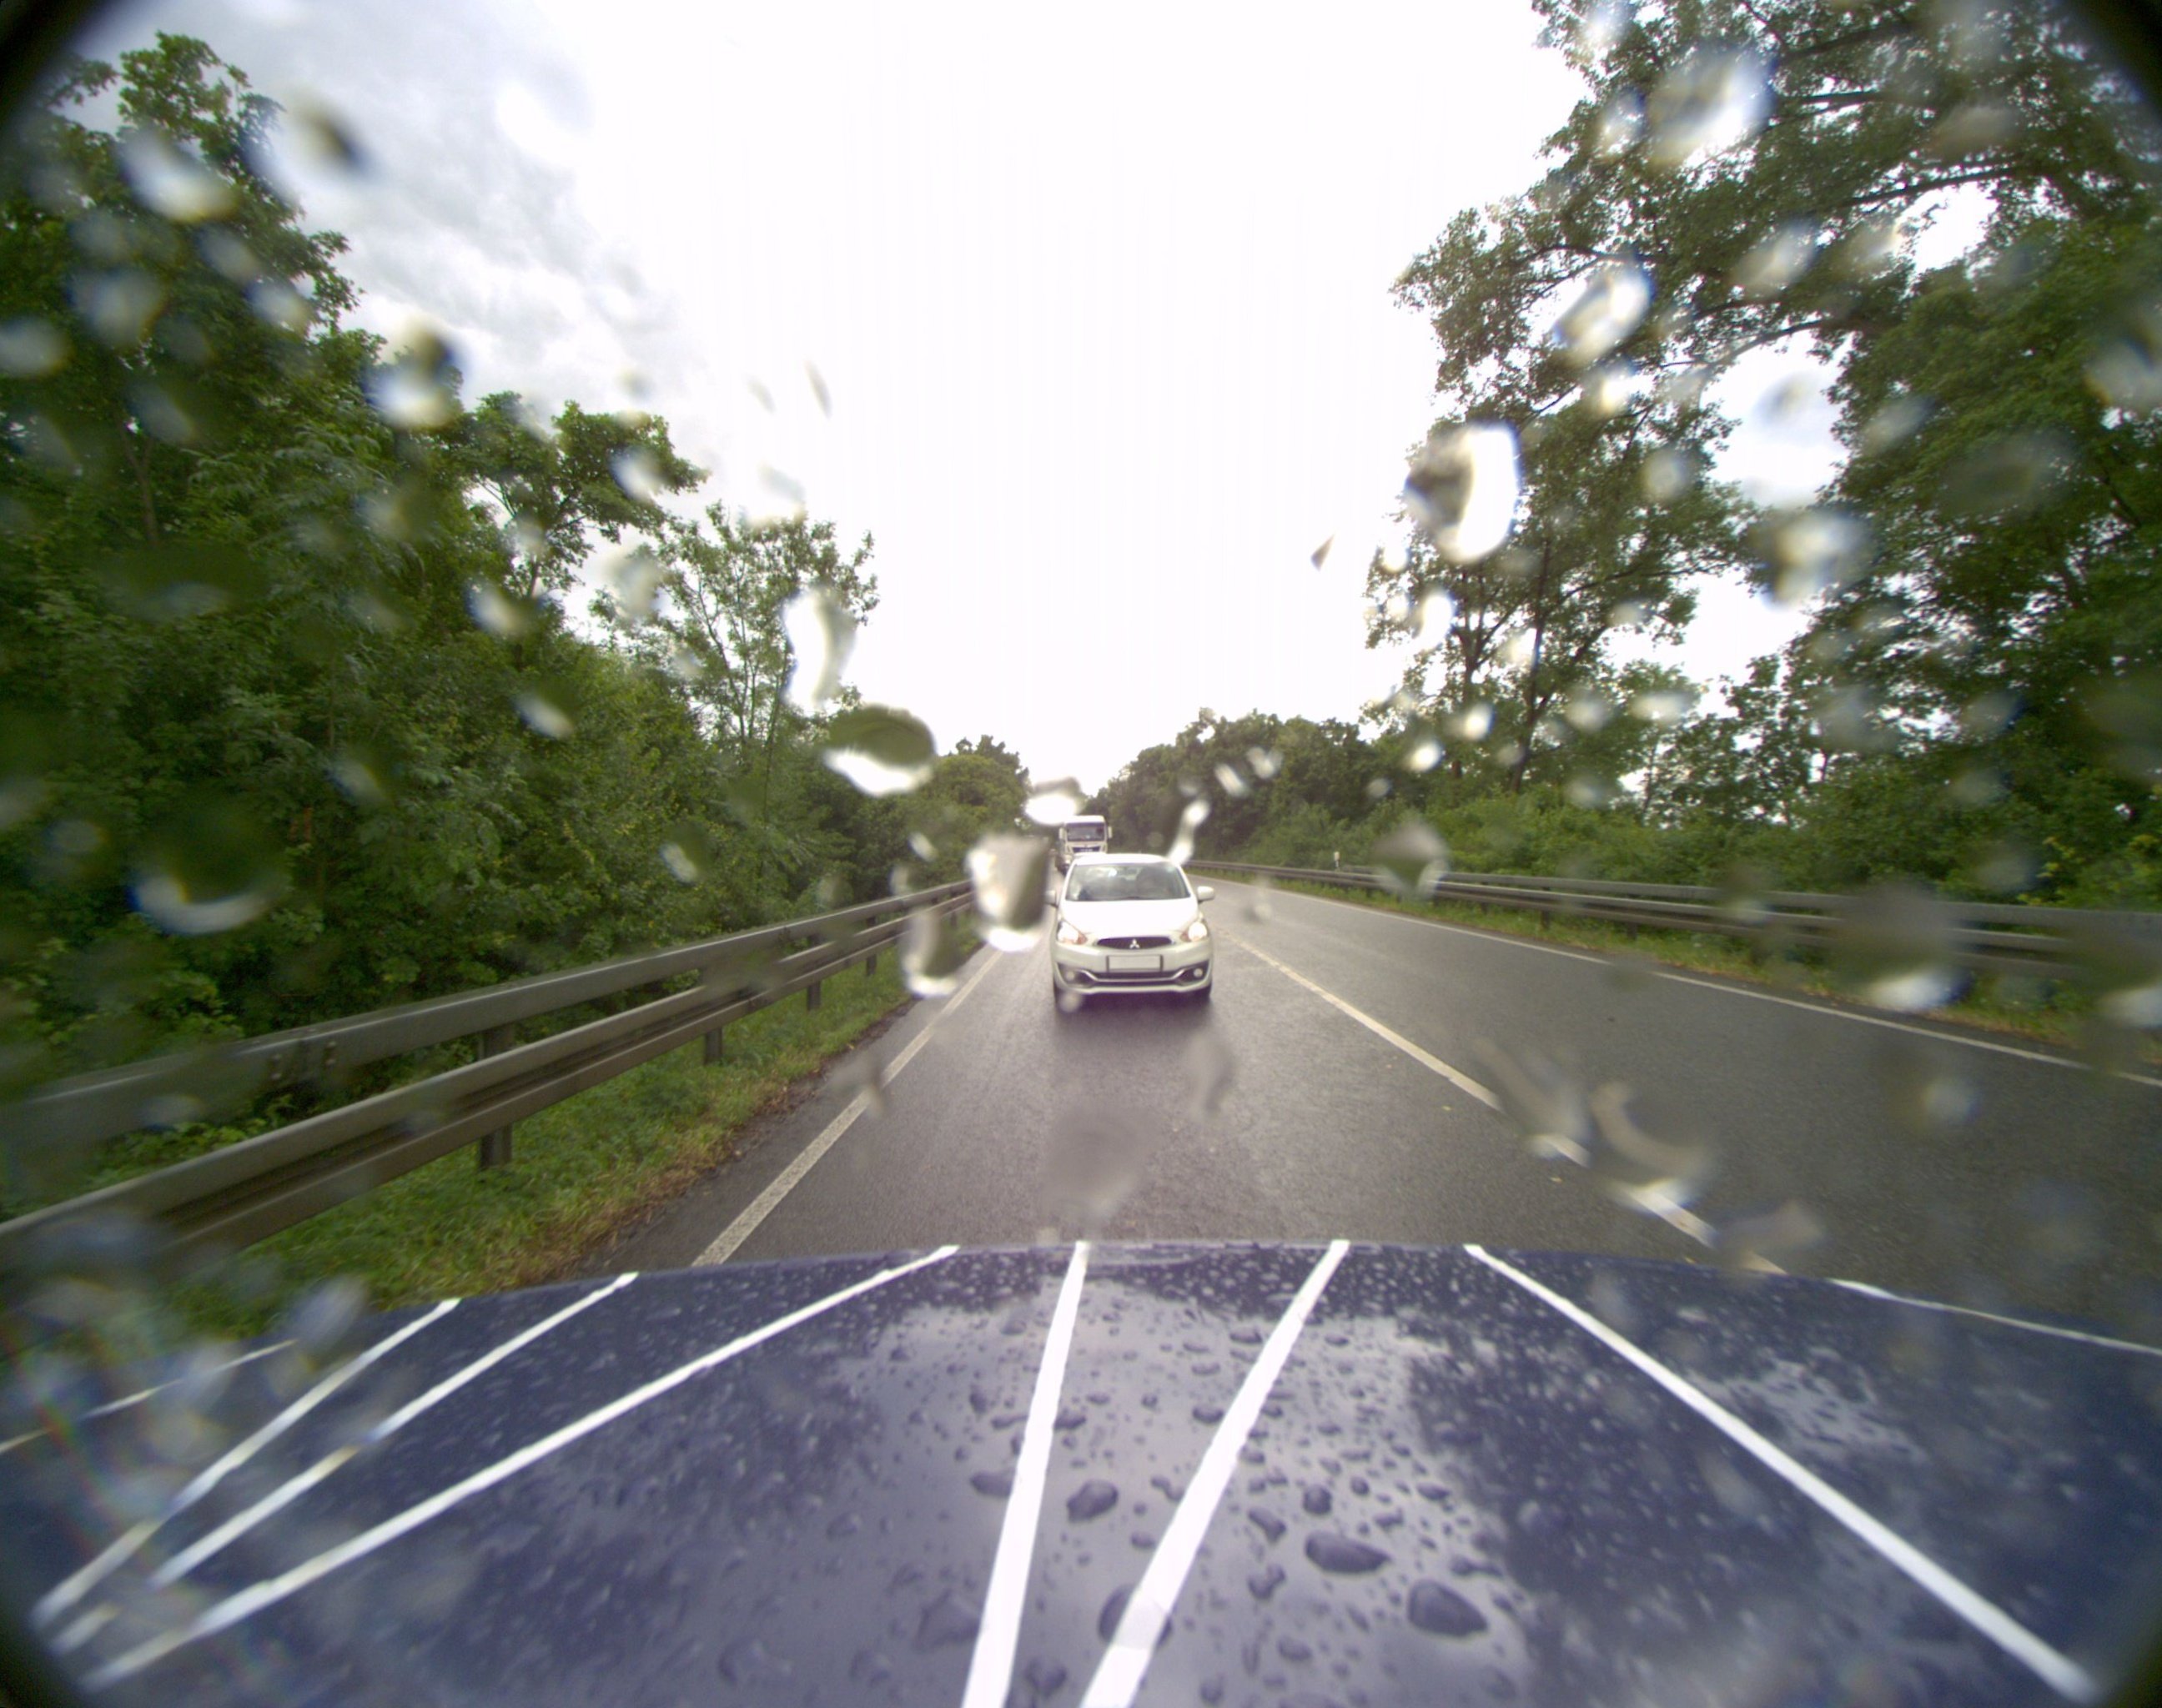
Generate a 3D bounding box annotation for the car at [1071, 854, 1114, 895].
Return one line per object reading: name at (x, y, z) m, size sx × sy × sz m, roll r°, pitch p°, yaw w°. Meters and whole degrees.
car at (0.459, 0.732, 28.185) m, size 1.475 × 1.410 × 3.429 m, roll -1°, pitch 0°, yaw 2°

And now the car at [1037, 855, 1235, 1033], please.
car at (0.523, 0.797, 8.723) m, size 1.700 × 1.471 × 4.063 m, roll -2°, pitch 1°, yaw 1°

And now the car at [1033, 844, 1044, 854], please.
car at (-9.170, -1.084, 163.363) m, size 2.000 × 1.936 × 3.996 m, roll -2°, pitch 1°, yaw -10°

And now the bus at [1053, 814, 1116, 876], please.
bus at (-0.073, -0.570, 49.727) m, size 3.064 × 3.405 × 13.634 m, roll -2°, pitch 1°, yaw -4°

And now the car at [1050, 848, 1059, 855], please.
car at (-4.802, -0.465, 136.315) m, size 1.246 × 1.281 × 2.881 m, roll -2°, pitch 1°, yaw -10°

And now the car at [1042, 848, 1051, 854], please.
car at (-6.789, -0.589, 148.389) m, size 1.377 × 1.281 × 3.249 m, roll -2°, pitch 1°, yaw -10°

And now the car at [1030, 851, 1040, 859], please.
car at (-8.797, 0.274, 145.120) m, size 1.394 × 1.470 × 3.224 m, roll -1°, pitch 1°, yaw -10°
